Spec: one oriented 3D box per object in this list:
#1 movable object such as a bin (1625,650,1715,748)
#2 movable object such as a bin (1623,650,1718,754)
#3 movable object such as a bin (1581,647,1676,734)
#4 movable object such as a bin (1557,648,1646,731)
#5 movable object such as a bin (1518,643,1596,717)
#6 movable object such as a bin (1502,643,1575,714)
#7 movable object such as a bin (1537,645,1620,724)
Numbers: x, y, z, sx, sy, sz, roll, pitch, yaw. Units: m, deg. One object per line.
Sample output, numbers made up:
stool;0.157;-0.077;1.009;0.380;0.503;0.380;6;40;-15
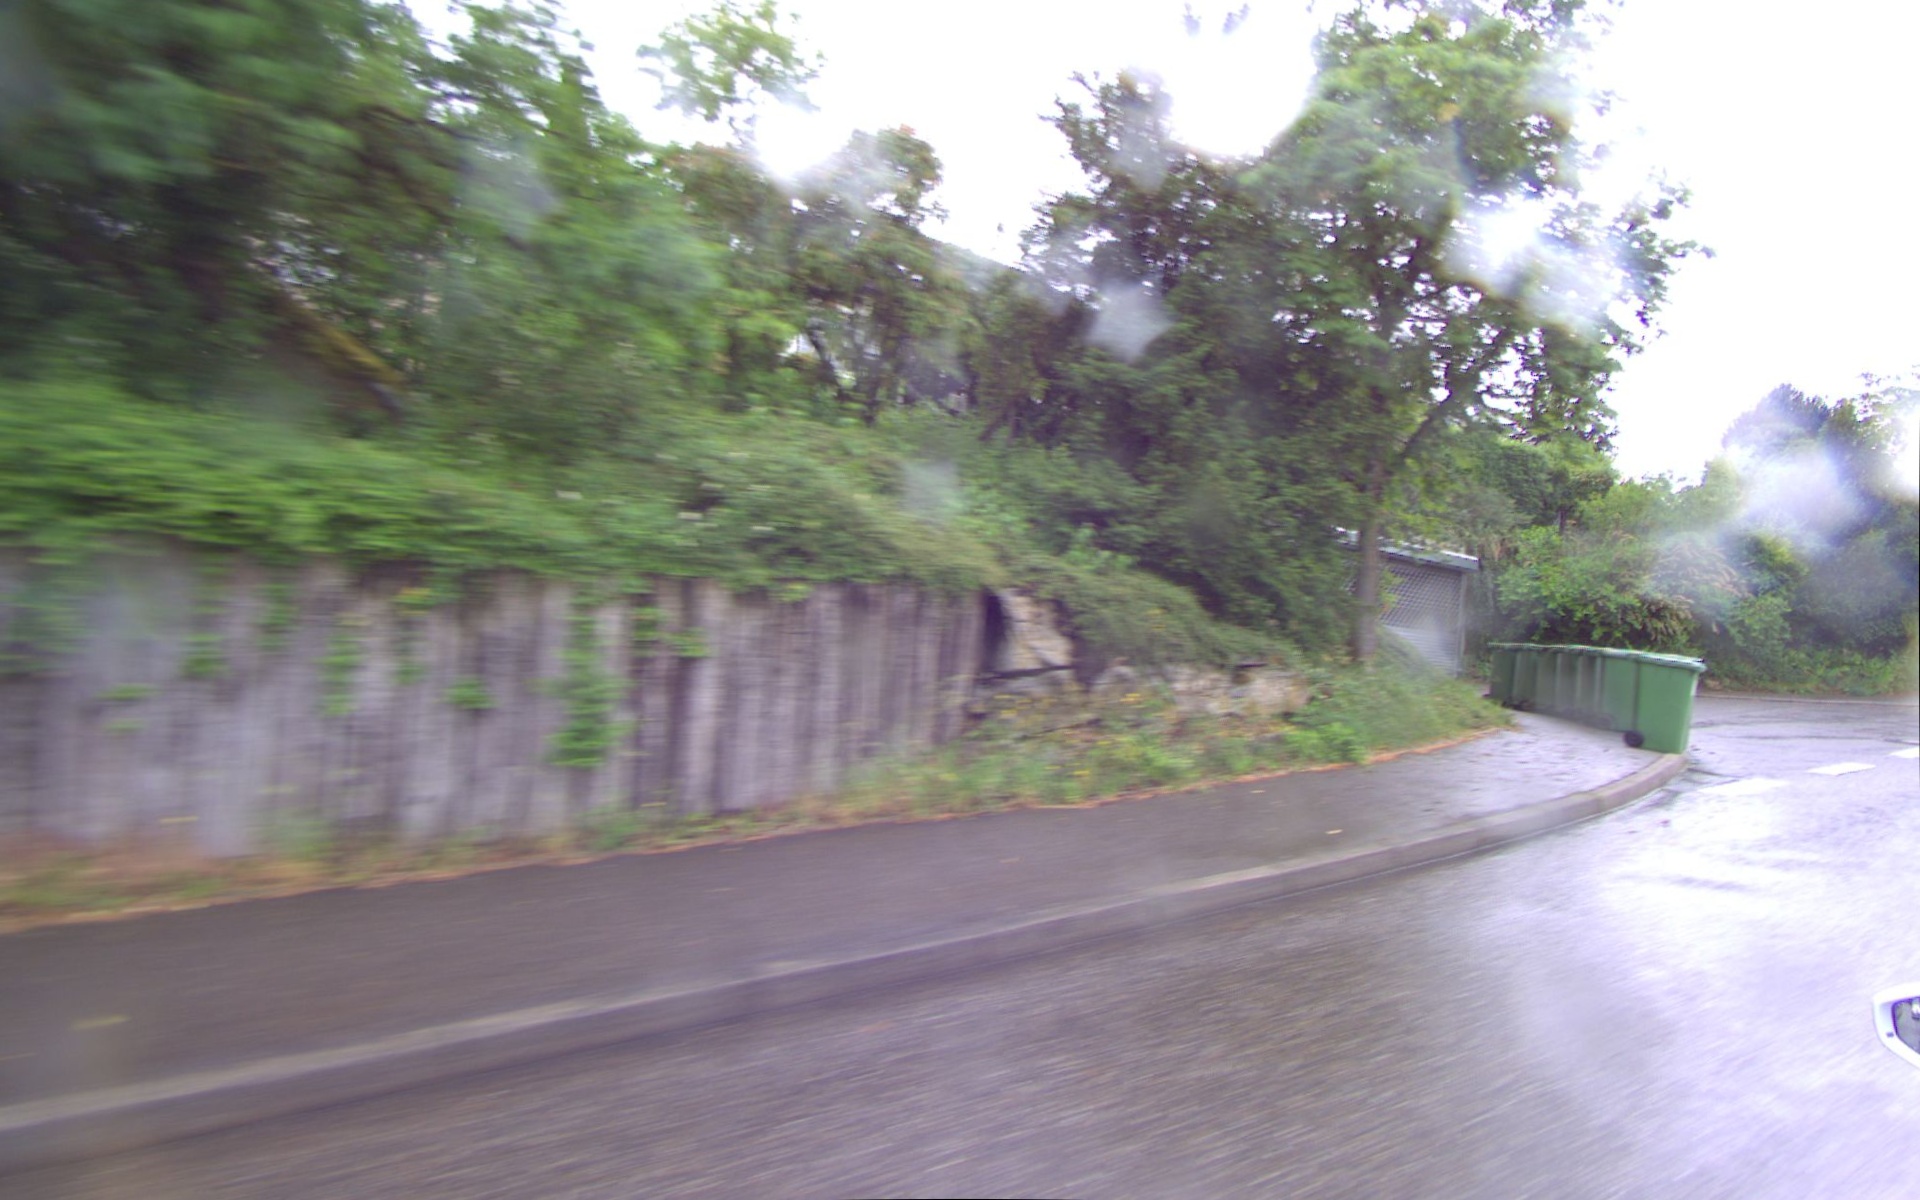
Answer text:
movable object such as a bin;8.456;1.154;11.989;0.766;1.041;0.718;4;1;32
movable object such as a bin;8.030;1.132;11.384;0.766;1.041;0.718;4;1;32
movable object such as a bin;8.881;1.190;13.378;0.764;1.041;0.720;4;1;9
movable object such as a bin;8.997;1.240;14.116;0.764;1.041;0.720;4;1;9
movable object such as a bin;9.244;1.226;15.579;0.764;1.041;0.720;4;1;9
movable object such as a bin;9.371;1.265;16.301;0.764;1.041;0.720;4;1;9
movable object such as a bin;9.119;1.232;14.841;0.764;1.041;0.720;4;1;9
